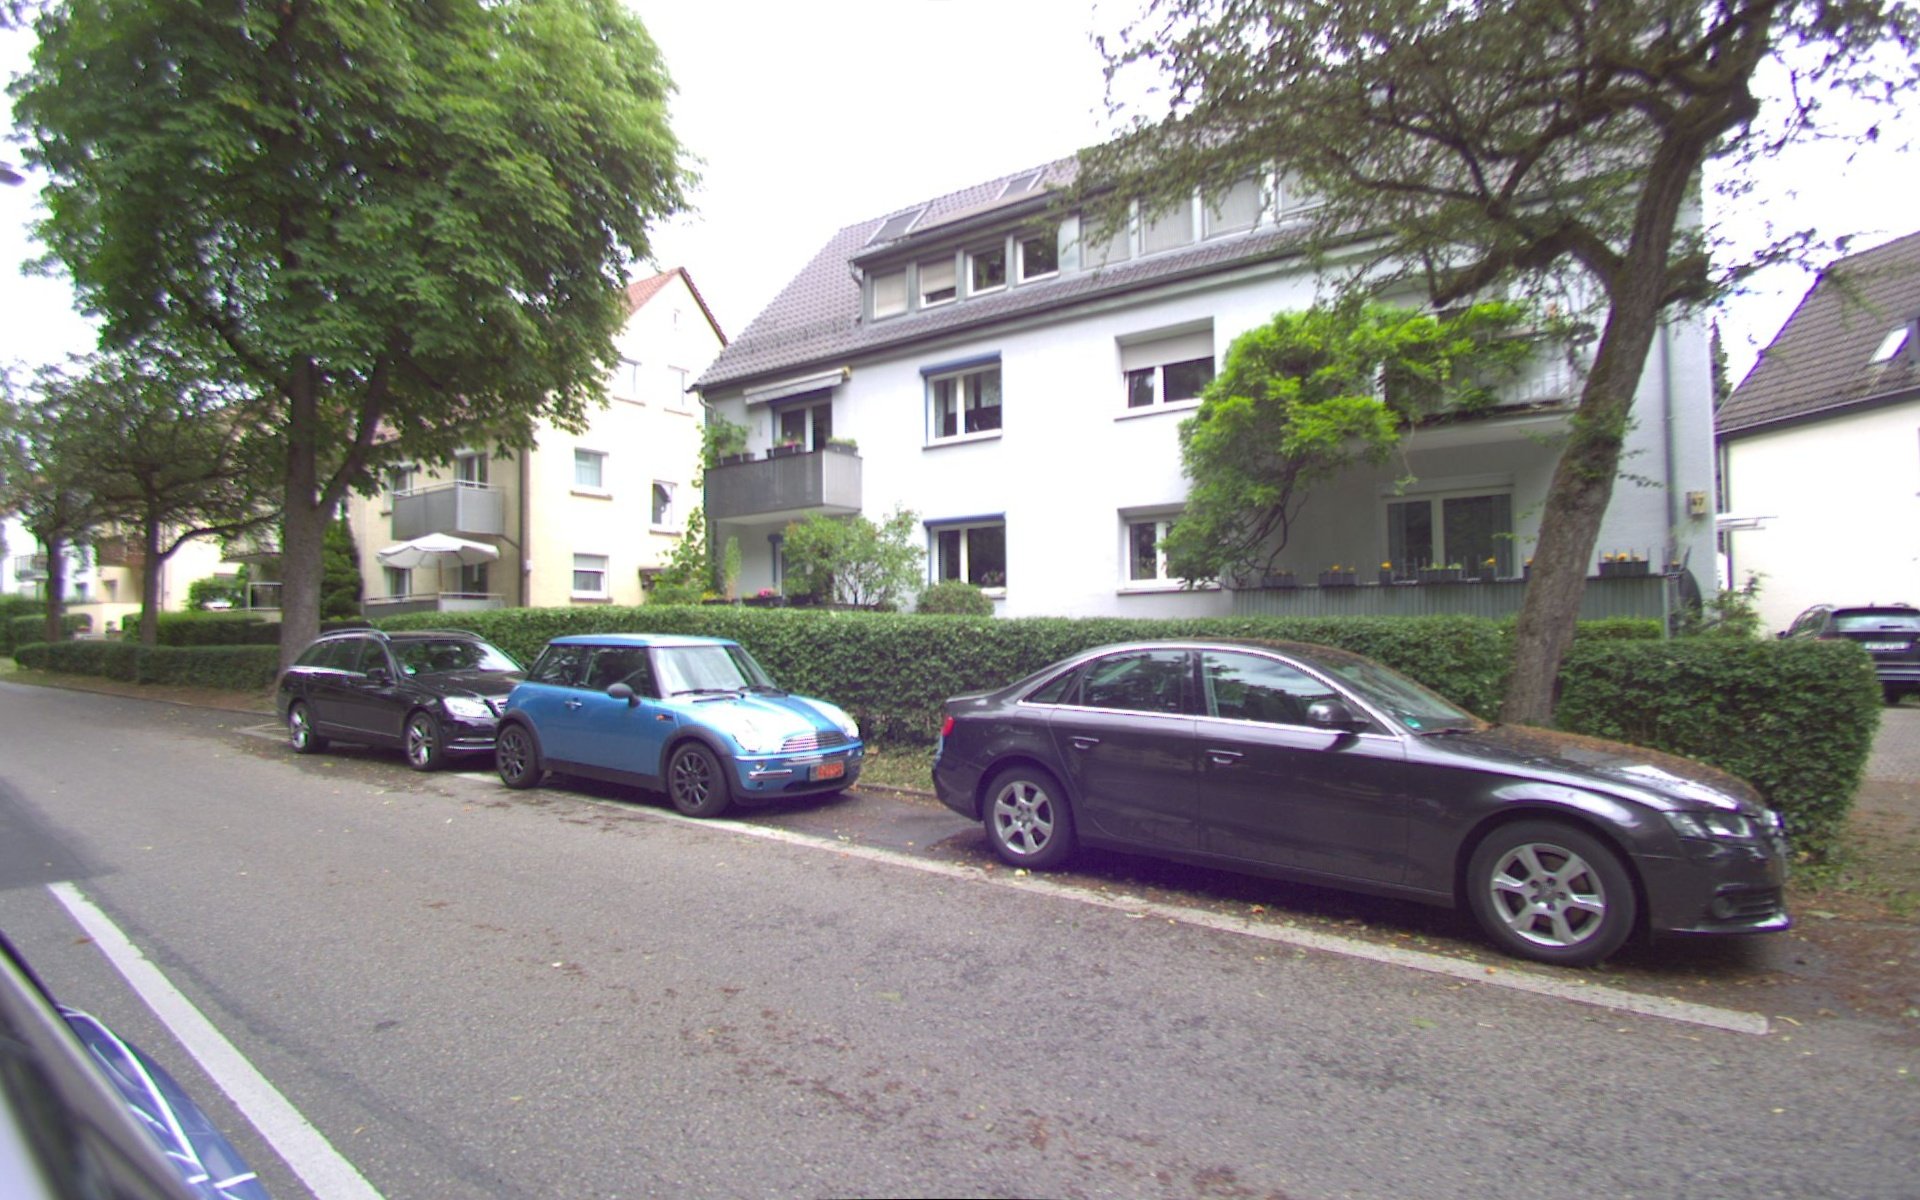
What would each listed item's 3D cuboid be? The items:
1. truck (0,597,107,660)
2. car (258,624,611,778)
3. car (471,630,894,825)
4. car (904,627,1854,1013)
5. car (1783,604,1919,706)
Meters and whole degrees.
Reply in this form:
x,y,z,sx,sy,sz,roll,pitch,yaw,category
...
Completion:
x,y,z,sx,sy,sz,roll,pitch,yaw,category
-48.557,1.487,52.751,2.511,3.155,5.749,-2,-2,33,truck
-6.213,1.057,11.807,4.407,1.483,1.779,-1,-3,35,car
-2.551,0.987,9.049,3.697,1.402,1.650,-1,-3,35,car
2.007,0.898,5.898,4.638,1.421,1.777,-2,-3,38,car
15.142,0.835,16.909,1.730,1.522,3.954,-1,-1,34,car
